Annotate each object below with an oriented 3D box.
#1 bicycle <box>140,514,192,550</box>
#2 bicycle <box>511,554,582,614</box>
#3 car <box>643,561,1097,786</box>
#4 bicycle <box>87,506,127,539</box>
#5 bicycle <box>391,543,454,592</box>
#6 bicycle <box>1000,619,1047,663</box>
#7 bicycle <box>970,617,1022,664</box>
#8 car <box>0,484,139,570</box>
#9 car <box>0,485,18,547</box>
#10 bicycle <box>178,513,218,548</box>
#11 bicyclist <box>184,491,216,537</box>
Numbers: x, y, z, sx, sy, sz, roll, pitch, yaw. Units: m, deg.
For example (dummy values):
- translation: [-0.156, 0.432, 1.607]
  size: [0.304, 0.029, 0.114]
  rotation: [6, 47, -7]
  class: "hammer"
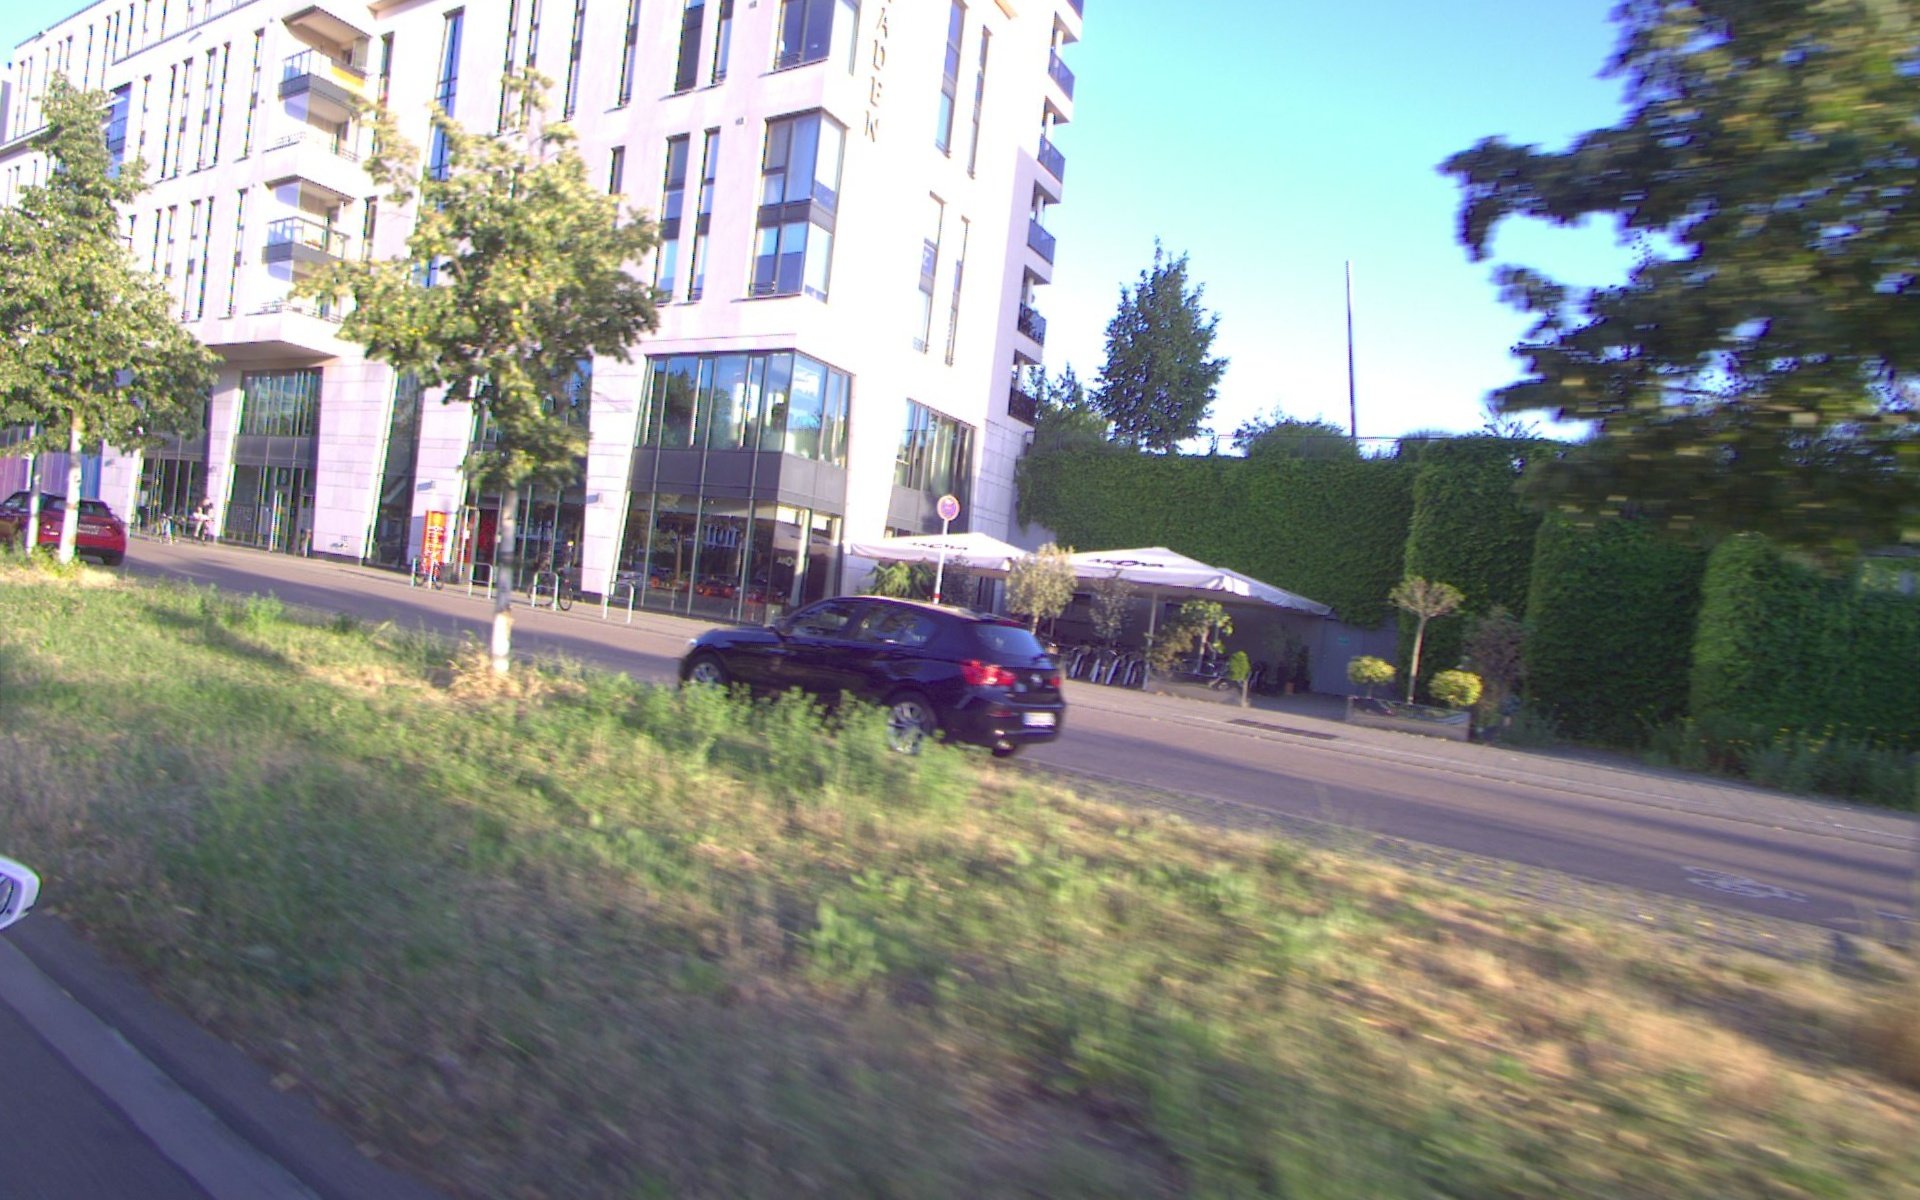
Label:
- translation: [-27.918, -2.405, 35.368]
  size: [2.223, 1.046, 0.620]
  rotation: [7, 1, 30]
  class: "bicycle"
- translation: [-10.028, -0.393, 24.371]
  size: [1.642, 1.247, 0.618]
  rotation: [7, 1, 30]
  class: "bicycle"
- translation: [-1.023, 0.618, 10.161]
  size: [4.299, 1.519, 1.809]
  rotation: [7, 0, 35]
  class: "car"
- translation: [-32.677, -2.973, 38.532]
  size: [1.584, 1.073, 0.534]
  rotation: [7, 1, 26]
  class: "bicycle"
- translation: [-14.579, -0.888, 27.269]
  size: [1.837, 1.143, 0.547]
  rotation: [7, 2, 30]
  class: "bicycle"
- translation: [1.763, 1.143, 27.805]
  size: [0.491, 1.121, 1.798]
  rotation: [7, 0, 27]
  class: "bicycle"
- translation: [0.948, 1.071, 25.957]
  size: [0.491, 1.121, 1.798]
  rotation: [7, 0, 27]
  class: "bicycle"
- translation: [-20.318, -1.679, 22.439]
  size: [3.893, 1.519, 1.811]
  rotation: [7, 0, 31]
  class: "car"
- translation: [-26.808, -2.446, 26.229]
  size: [4.926, 1.519, 1.923]
  rotation: [7, 0, 31]
  class: "car"
- translation: [-28.424, -2.597, 37.523]
  size: [1.882, 1.132, 0.543]
  rotation: [7, 1, 35]
  class: "bicycle"
- translation: [-28.324, -3.213, 37.482]
  size: [1.003, 1.588, 0.544]
  rotation: [7, 1, 35]
  class: "bicyclist"
